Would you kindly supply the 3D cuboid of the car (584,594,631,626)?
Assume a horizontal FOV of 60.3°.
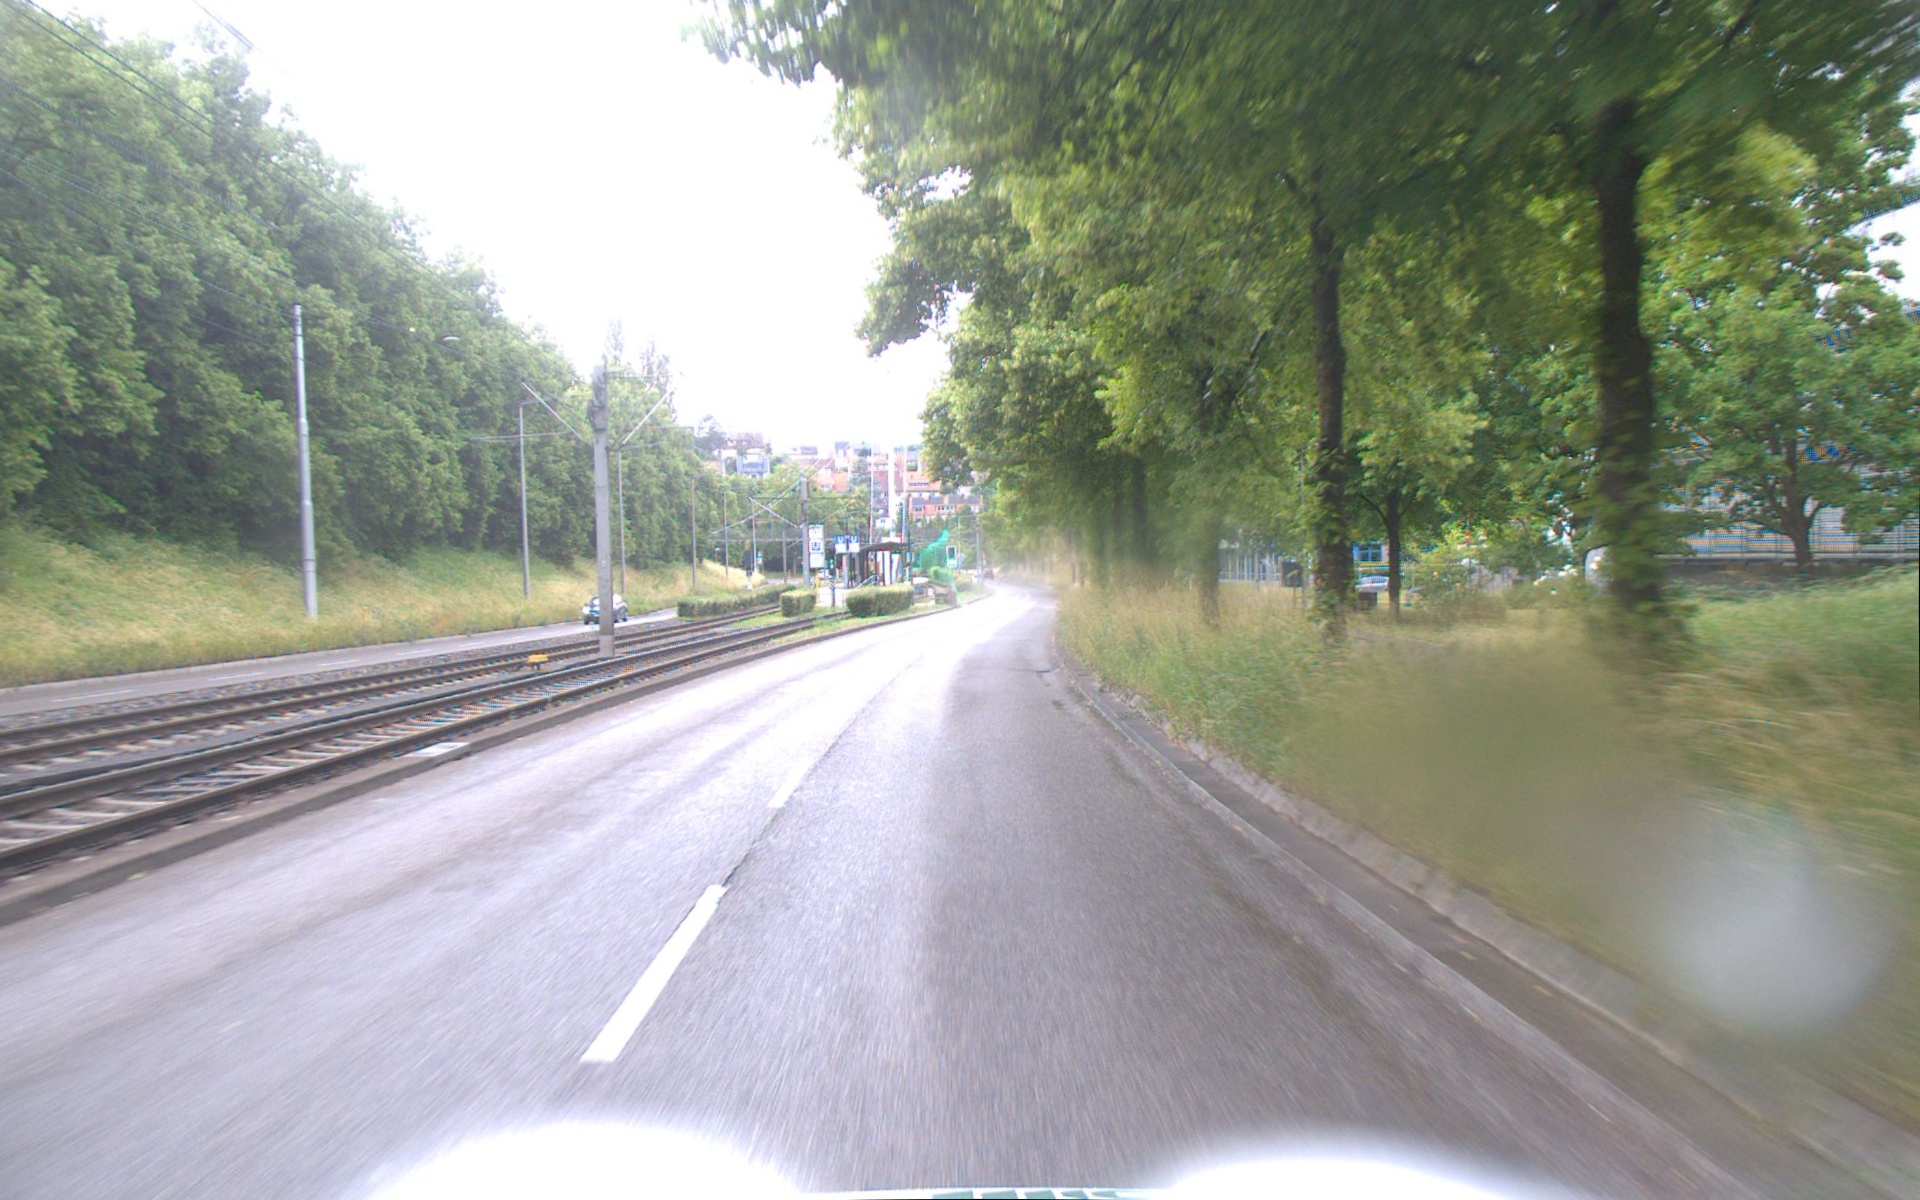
[{"bbox_3d":[-18.541,0.502,87.025,1.749,1.579,3.959,-3,0,-3],"label":"car"}]
